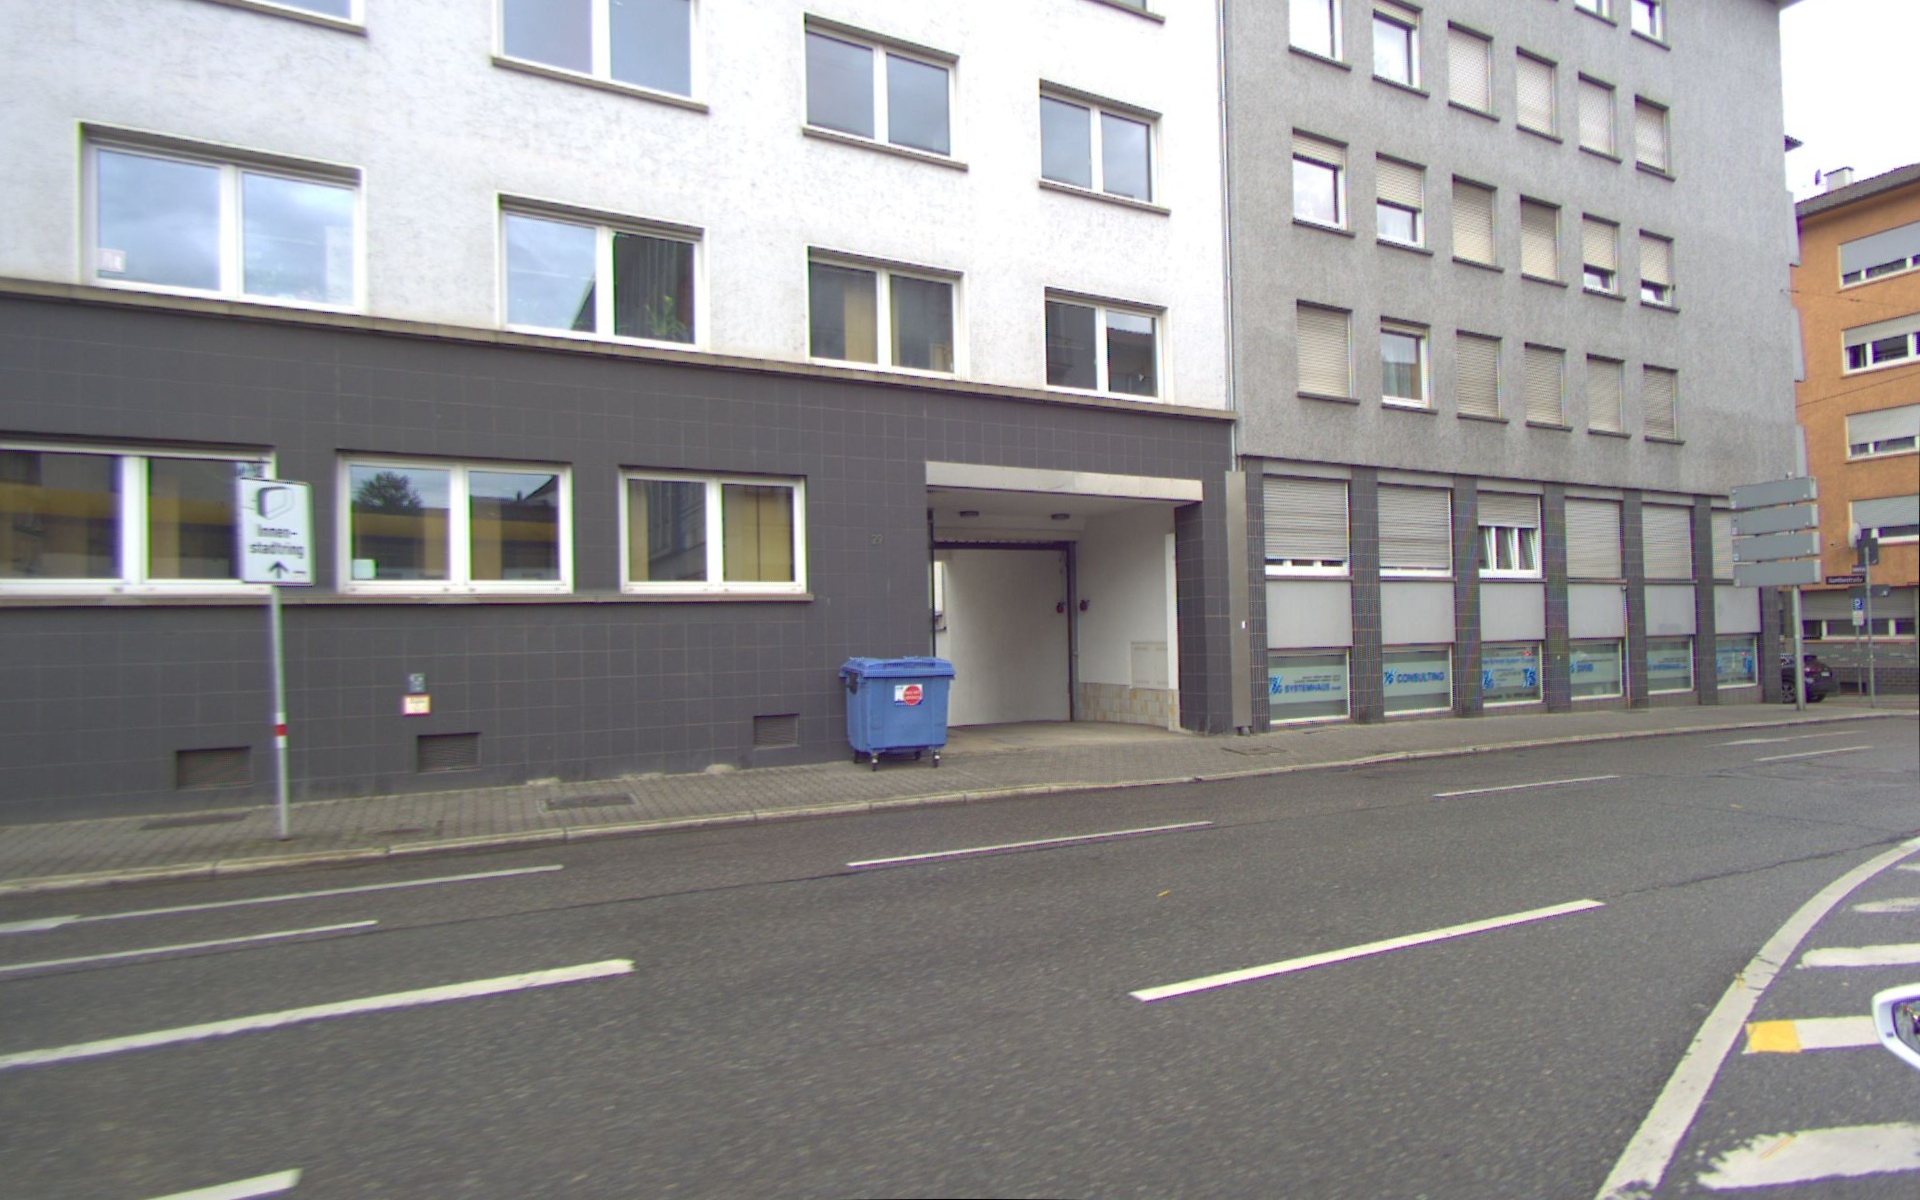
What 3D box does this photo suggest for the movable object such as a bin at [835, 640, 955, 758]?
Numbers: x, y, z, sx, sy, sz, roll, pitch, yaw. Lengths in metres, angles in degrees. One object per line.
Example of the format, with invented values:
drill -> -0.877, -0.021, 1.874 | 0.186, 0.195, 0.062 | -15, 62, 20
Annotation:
movable object such as a bin -> -0.823, 1.198, 12.576 | 1.175, 1.342, 1.072 | 1, 0, -26

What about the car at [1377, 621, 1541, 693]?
car -> 19.070, 2.270, 38.713 | 1.961, 2.490, 5.316 | 1, -6, -31

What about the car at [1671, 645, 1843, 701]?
car -> 26.523, 2.478, 33.578 | 1.905, 1.673, 3.977 | 1, -6, -26
